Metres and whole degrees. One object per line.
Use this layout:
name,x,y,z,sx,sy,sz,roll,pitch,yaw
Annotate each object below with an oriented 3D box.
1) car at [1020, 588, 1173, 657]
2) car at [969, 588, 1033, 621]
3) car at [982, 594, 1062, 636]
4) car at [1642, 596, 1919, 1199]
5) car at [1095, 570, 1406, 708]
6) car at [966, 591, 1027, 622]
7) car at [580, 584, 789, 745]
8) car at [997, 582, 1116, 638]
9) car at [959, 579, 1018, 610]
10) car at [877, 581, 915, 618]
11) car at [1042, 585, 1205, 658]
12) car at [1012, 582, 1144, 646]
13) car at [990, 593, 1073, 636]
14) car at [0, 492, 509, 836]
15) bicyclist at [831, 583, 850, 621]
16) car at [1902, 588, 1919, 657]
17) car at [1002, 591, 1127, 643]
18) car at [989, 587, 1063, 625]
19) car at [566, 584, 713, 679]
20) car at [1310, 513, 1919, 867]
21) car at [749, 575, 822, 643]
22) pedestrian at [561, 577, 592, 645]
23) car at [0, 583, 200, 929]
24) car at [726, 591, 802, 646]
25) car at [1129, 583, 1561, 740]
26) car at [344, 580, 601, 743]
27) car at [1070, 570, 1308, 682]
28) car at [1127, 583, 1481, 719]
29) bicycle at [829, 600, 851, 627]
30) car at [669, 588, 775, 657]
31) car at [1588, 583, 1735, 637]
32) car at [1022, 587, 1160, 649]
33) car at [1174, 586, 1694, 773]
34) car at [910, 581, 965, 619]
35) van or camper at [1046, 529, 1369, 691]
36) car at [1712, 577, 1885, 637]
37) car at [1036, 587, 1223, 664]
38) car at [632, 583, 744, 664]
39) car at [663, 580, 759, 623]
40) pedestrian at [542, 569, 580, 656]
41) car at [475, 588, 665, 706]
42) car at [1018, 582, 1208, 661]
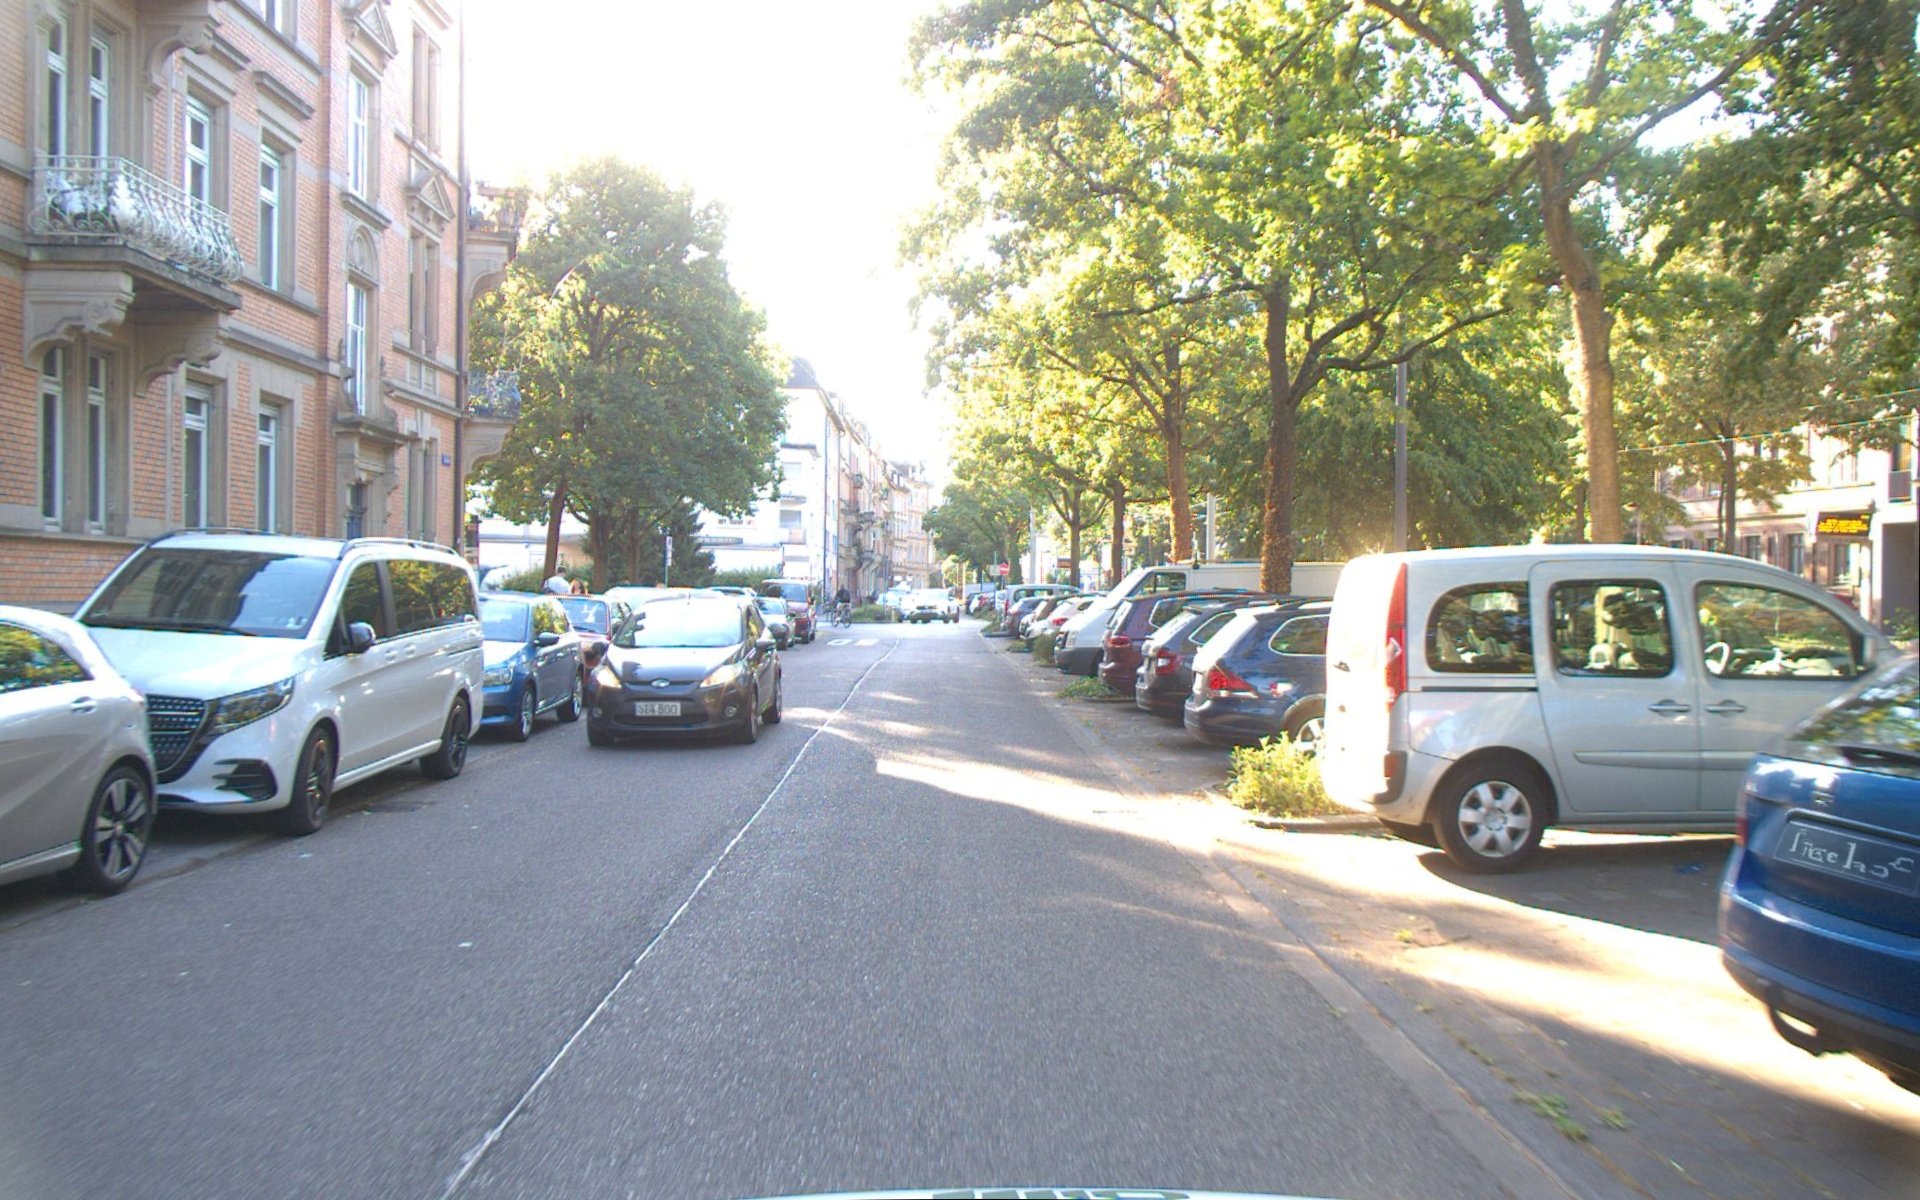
car,3.676,0.627,45.110,3.908,1.729,1.857,2,-2,-4
car,2.690,0.300,108.033,3.902,2.049,2.001,1,-2,11
car,3.297,0.802,86.888,3.902,2.049,2.001,1,-2,11
car,4.275,0.698,4.628,4.000,1.468,1.760,-1,0,-3
car,3.873,0.510,22.578,3.905,1.721,1.859,-1,0,0
car,2.574,0.473,114.888,3.902,2.049,2.001,1,-2,11
car,-2.800,0.599,17.570,1.634,1.489,3.999,-1,0,-2
car,3.311,0.366,57.411,3.908,1.825,1.857,2,-2,-4
car,2.052,-0.402,118.849,3.902,2.049,2.001,1,-2,11
car,-3.444,-0.004,89.335,1.953,1.870,3.998,2,-2,-2
car,4.157,0.572,42.465,3.908,1.729,1.857,2,-2,-4
car,3.670,0.457,52.071,3.908,1.857,1.857,2,-2,-4
car,3.604,0.723,83.358,3.902,2.049,2.001,1,-2,11
car,-4.938,0.431,12.144,1.953,1.955,5.037,2,-2,-2
bicyclist,-5.086,0.092,70.447,0.617,1.601,0.799,2,-2,-15
car,26.566,0.621,41.752,4.604,1.713,1.999,1,-2,23
car,3.429,0.567,54.739,3.908,1.591,1.857,2,-2,-4
car,3.779,0.345,94.451,3.902,2.049,2.001,1,-2,11
car,-5.445,0.502,28.573,1.669,1.454,3.877,3,0,1
car,4.397,0.483,10.067,4.133,1.896,1.762,-1,0,0
car,-5.567,0.264,53.297,1.918,2.053,4.267,2,0,-1
pedestrian,-9.146,0.250,39.430,0.585,1.577,0.708,0,2,-1
car,-4.928,0.678,6.800,1.640,1.480,4.210,-1,0,0
car,-5.614,0.500,47.761,1.721,1.491,4.267,2,0,-1
car,3.952,0.616,17.502,4.133,1.478,1.865,-1,0,0
car,-5.124,0.581,17.910,1.636,1.512,3.999,2,0,-2
car,4.052,0.455,29.707,3.908,1.849,1.858,2,0,-4
car,4.087,0.587,20.119,3.905,1.486,1.859,-1,0,0
bicycle,-5.125,0.577,70.545,0.630,1.119,1.936,2,-2,-14
car,-5.558,0.498,39.104,1.720,1.491,4.269,2,0,2
car,24.252,0.343,57.359,4.603,1.713,1.999,1,-2,22
car,3.909,0.554,49.776,3.908,1.729,1.857,2,-2,-4
car,4.042,0.663,14.608,4.131,1.478,1.649,-1,0,3
car,-1.041,-0.014,78.517,1.740,1.703,4.491,2,0,10
van or camper,3.966,0.192,27.141,4.882,2.419,2.184,2,-2,-3
car,25.776,0.222,51.021,4.604,1.713,1.999,1,-2,23
car,3.770,0.590,37.131,3.908,1.575,1.857,2,-2,-4
car,-5.604,0.448,34.487,1.721,1.542,4.160,2,0,-2
car,-11.065,0.074,73.582,3.905,1.736,2.000,2,-2,0
pedestrian,-7.894,0.238,32.730,0.585,1.697,0.708,0,2,-1
car,-5.337,0.590,23.138,1.636,1.454,4.241,1,0,0
car,3.629,0.537,39.745,4.303,1.729,1.857,2,-2,-4
